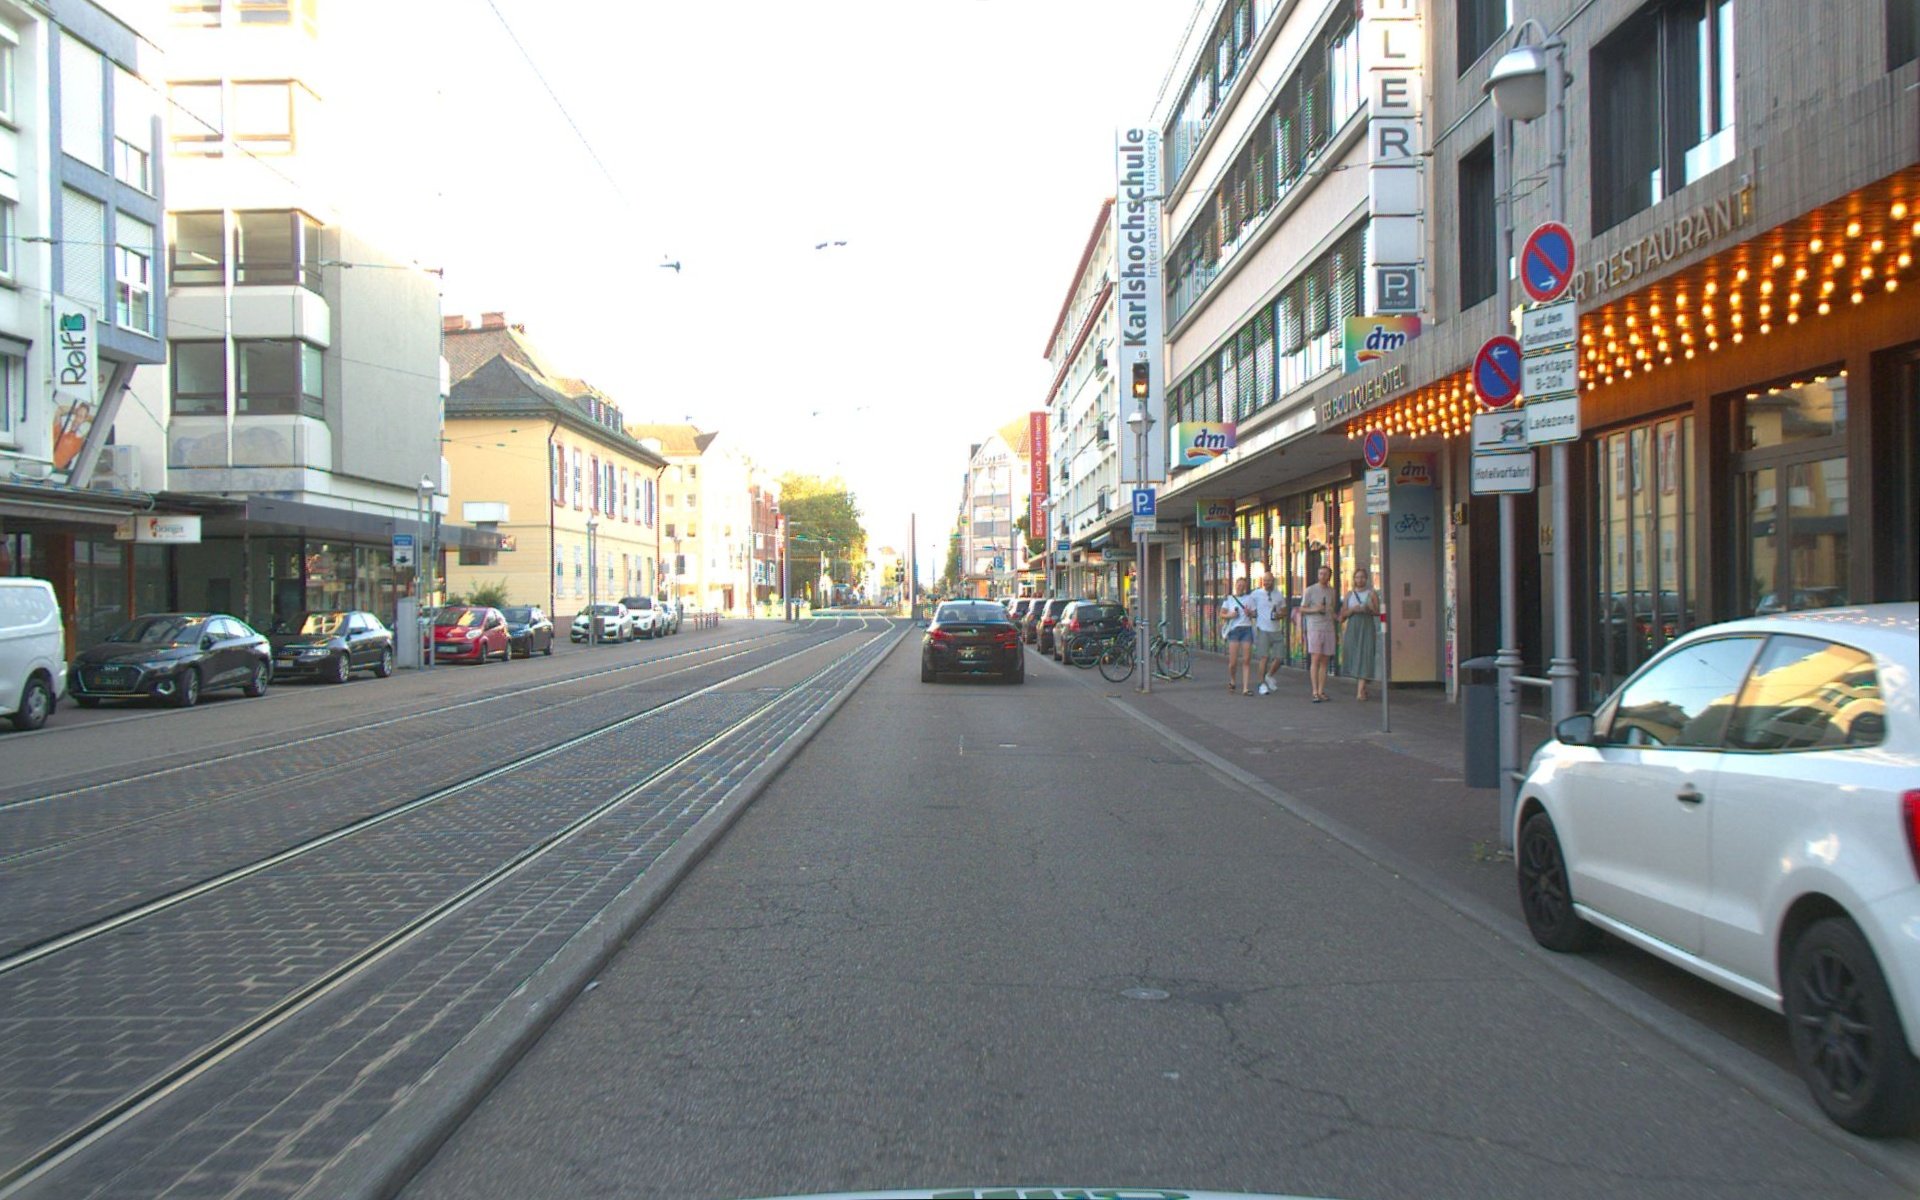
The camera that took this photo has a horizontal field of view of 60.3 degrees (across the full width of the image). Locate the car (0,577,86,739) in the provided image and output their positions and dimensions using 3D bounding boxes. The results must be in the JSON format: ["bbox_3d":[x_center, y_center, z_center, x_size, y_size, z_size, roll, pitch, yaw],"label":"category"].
[{"bbox_3d":[-12.888,0.736,20.069,1.916,2.011,5.161,-1,0,-2],"label":"car"}]

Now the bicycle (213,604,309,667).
[{"bbox_3d":[-16.882,0.850,39.985,1.929,1.450,0.834,-1,0,-2],"label":"bicycle"}]

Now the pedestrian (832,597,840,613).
[{"bbox_3d":[-16.504,0.665,220.802,0.968,2.049,0.725,1,-1,-2],"label":"pedestrian"}]

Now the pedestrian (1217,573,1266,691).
[{"bbox_3d":[4.272,0.480,25.110,0.592,1.757,0.646,-1,0,-1],"label":"pedestrian"}]

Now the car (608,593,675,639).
[{"bbox_3d":[-13.215,0.628,68.862,1.775,1.817,4.498,-1,0,1],"label":"car"}]

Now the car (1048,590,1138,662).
[{"bbox_3d":[3.093,0.576,39.039,1.708,1.538,4.257,-2,0,0],"label":"car"}]

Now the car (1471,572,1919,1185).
[{"bbox_3d":[3.291,0.700,5.967,1.643,1.569,3.886,-2,0,0],"label":"car"}]

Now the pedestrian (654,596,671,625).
[{"bbox_3d":[-16.994,0.613,94.518,0.934,1.612,0.732,-1,0,-8],"label":"pedestrian"}]

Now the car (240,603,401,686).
[{"bbox_3d":[-13.010,0.864,33.924,1.652,1.538,4.444,-1,0,-2],"label":"car"}]

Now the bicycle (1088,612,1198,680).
[{"bbox_3d":[3.289,0.818,29.828,1.848,1.095,0.676,-3,0,-4],"label":"bicycle"}]

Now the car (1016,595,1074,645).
[{"bbox_3d":[2.802,0.630,55.227,1.651,1.538,4.034,-2,0,0],"label":"car"}]

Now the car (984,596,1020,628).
[{"bbox_3d":[2.197,0.607,87.053,1.700,1.538,4.685,-2,0,0],"label":"car"}]

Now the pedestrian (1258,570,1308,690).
[{"bbox_3d":[4.891,0.442,25.052,0.596,1.784,0.605,-1,0,-1],"label":"pedestrian"}]

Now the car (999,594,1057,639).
[{"bbox_3d":[2.482,0.593,61.093,1.754,1.538,4.710,-2,0,-2],"label":"car"}]

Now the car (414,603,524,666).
[{"bbox_3d":[-13.034,0.876,44.138,1.651,1.538,4.214,-1,0,0],"label":"car"}]

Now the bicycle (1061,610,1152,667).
[{"bbox_3d":[3.150,0.821,35.571,1.848,1.158,0.676,-1,0,-4],"label":"bicycle"}]

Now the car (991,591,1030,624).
[{"bbox_3d":[2.460,0.352,81.765,1.749,1.538,4.051,-2,0,0],"label":"car"}]

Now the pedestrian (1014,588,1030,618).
[{"bbox_3d":[3.617,0.175,96.607,0.810,1.748,0.843,-2,0,-1],"label":"pedestrian"}]

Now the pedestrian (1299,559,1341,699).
[{"bbox_3d":[5.051,0.400,23.218,0.446,1.932,0.421,-1,0,-1],"label":"pedestrian"}]

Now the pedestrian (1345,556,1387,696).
[{"bbox_3d":[5.666,0.362,23.069,0.442,1.932,0.421,-1,0,-1],"label":"pedestrian"}]

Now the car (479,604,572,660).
[{"bbox_3d":[-12.880,0.929,49.261,1.651,1.538,4.214,-1,0,0],"label":"car"}]

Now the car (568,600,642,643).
[{"bbox_3d":[-13.428,0.781,62.782,1.775,1.538,4.433,-1,0,1],"label":"car"}]

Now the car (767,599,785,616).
[{"bbox_3d":[-22.111,0.857,198.917,1.954,1.934,4.808,-1,0,-3],"label":"car"}]

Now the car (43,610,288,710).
[{"bbox_3d":[-13.016,0.929,27.444,1.953,1.491,4.557,0,0,-2],"label":"car"}]

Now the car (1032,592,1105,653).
[{"bbox_3d":[2.978,0.598,46.129,1.685,1.538,4.167,-2,0,0],"label":"car"}]

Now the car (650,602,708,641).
[{"bbox_3d":[-12.627,0.947,74.517,1.775,1.645,4.215,-1,0,1],"label":"car"}]

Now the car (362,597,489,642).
[{"bbox_3d":[-19.007,0.682,58.910,3.904,1.492,1.846,-1,0,1],"label":"car"}]

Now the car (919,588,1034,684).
[{"bbox_3d":[0.260,0.617,30.632,1.953,1.612,3.999,-1,0,-1],"label":"car"}]
